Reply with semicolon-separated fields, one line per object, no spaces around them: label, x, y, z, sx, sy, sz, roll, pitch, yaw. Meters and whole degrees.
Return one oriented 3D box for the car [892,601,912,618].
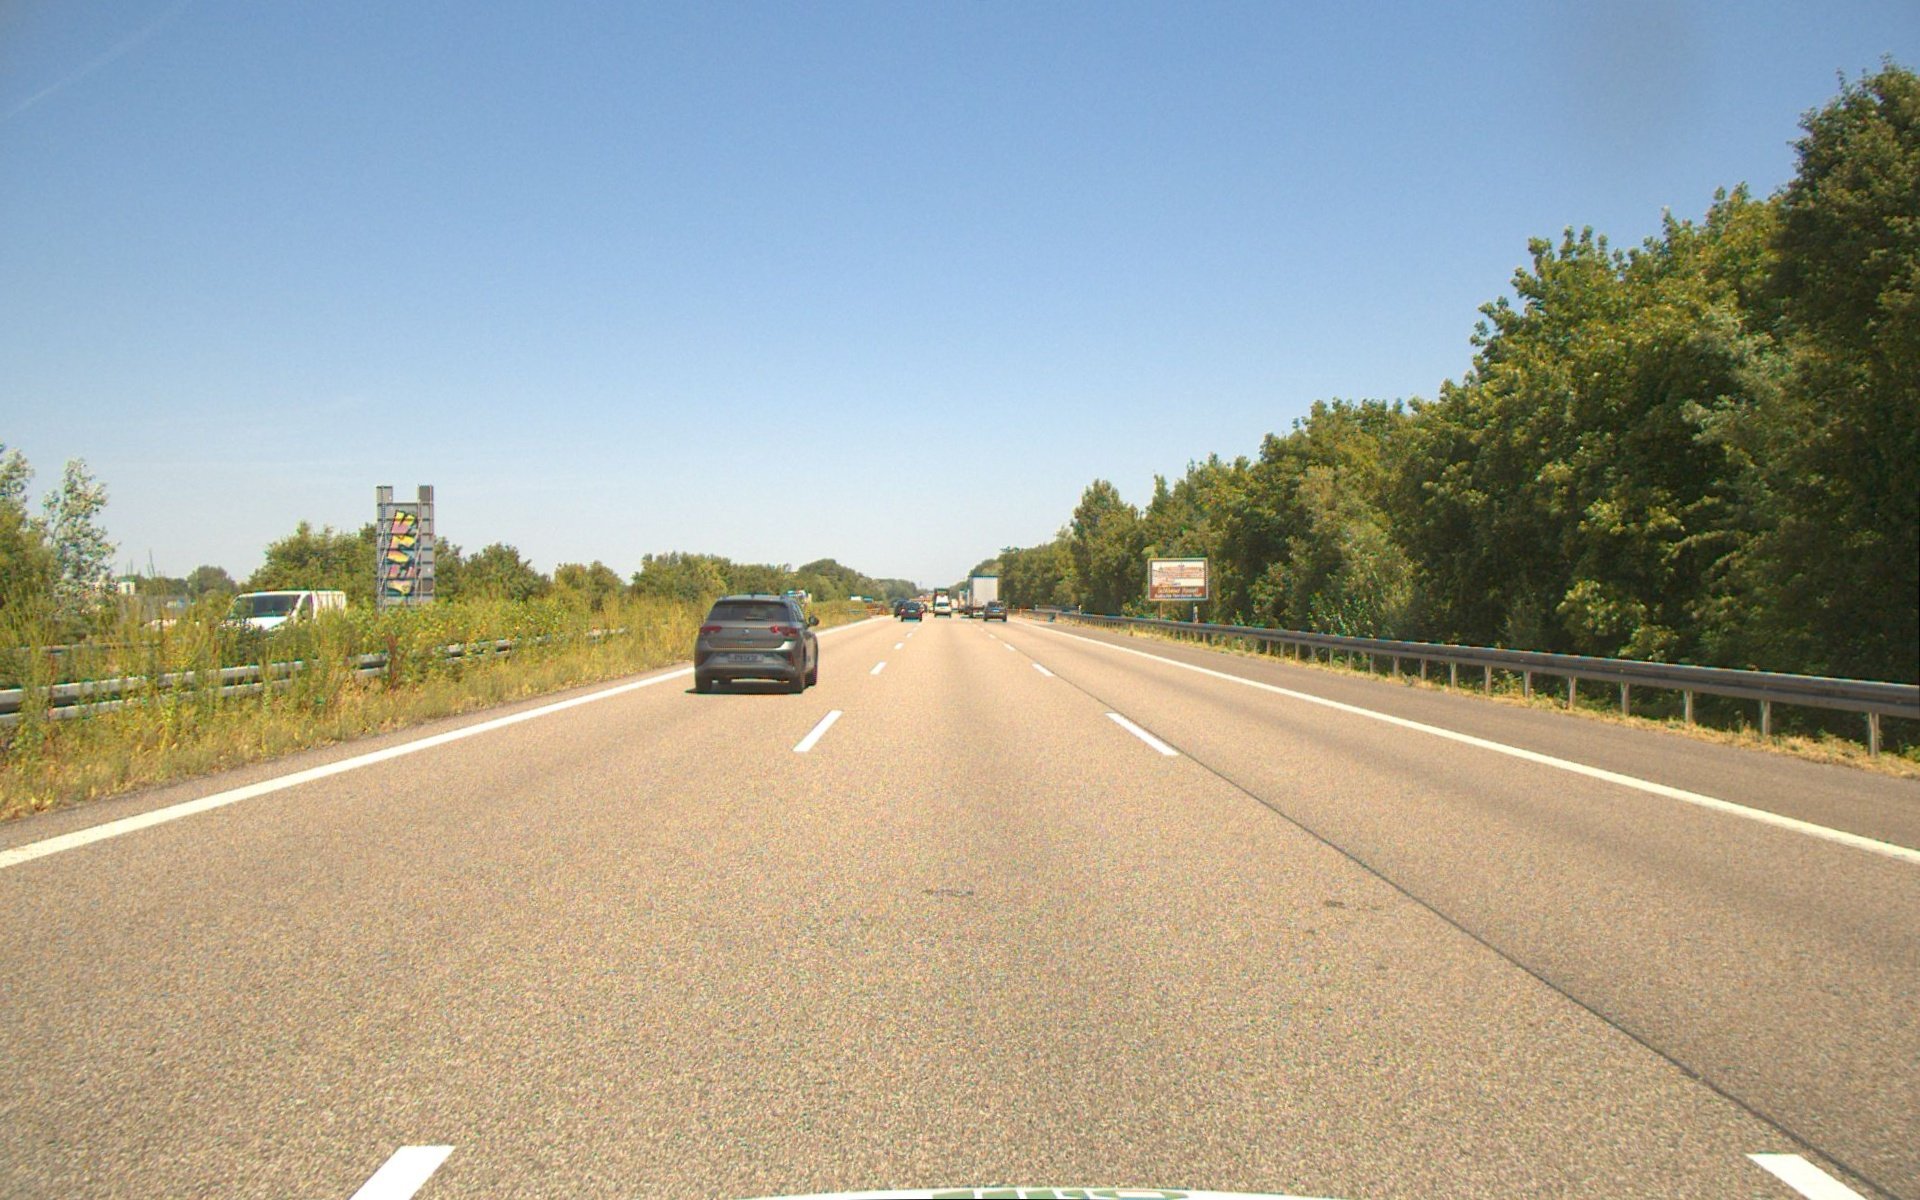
car;-5.706;0.926;163.114;1.869;1.557;4.284;1;0;-1

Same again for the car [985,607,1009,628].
car;3.002;1.378;133.462;1.807;1.657;4.134;0;0;0

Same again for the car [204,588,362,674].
car;-17.296;0.743;42.554;1.953;2.025;5.271;1;0;-1

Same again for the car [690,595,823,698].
car;-3.329;0.723;27.794;1.723;1.557;4.285;1;0;-1

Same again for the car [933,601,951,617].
car;-1.874;0.912;170.964;1.862;1.557;4.083;1;0;-1

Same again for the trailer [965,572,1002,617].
trailer;2.316;-0.472;166.184;3.364;4.254;13.629;1;-1;0

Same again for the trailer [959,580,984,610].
trailer;1.590;-0.651;228.503;3.059;3.995;9.933;1;0;-2

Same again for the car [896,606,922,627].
car;-3.873;1.255;126.207;1.862;1.557;4.083;1;0;-1
